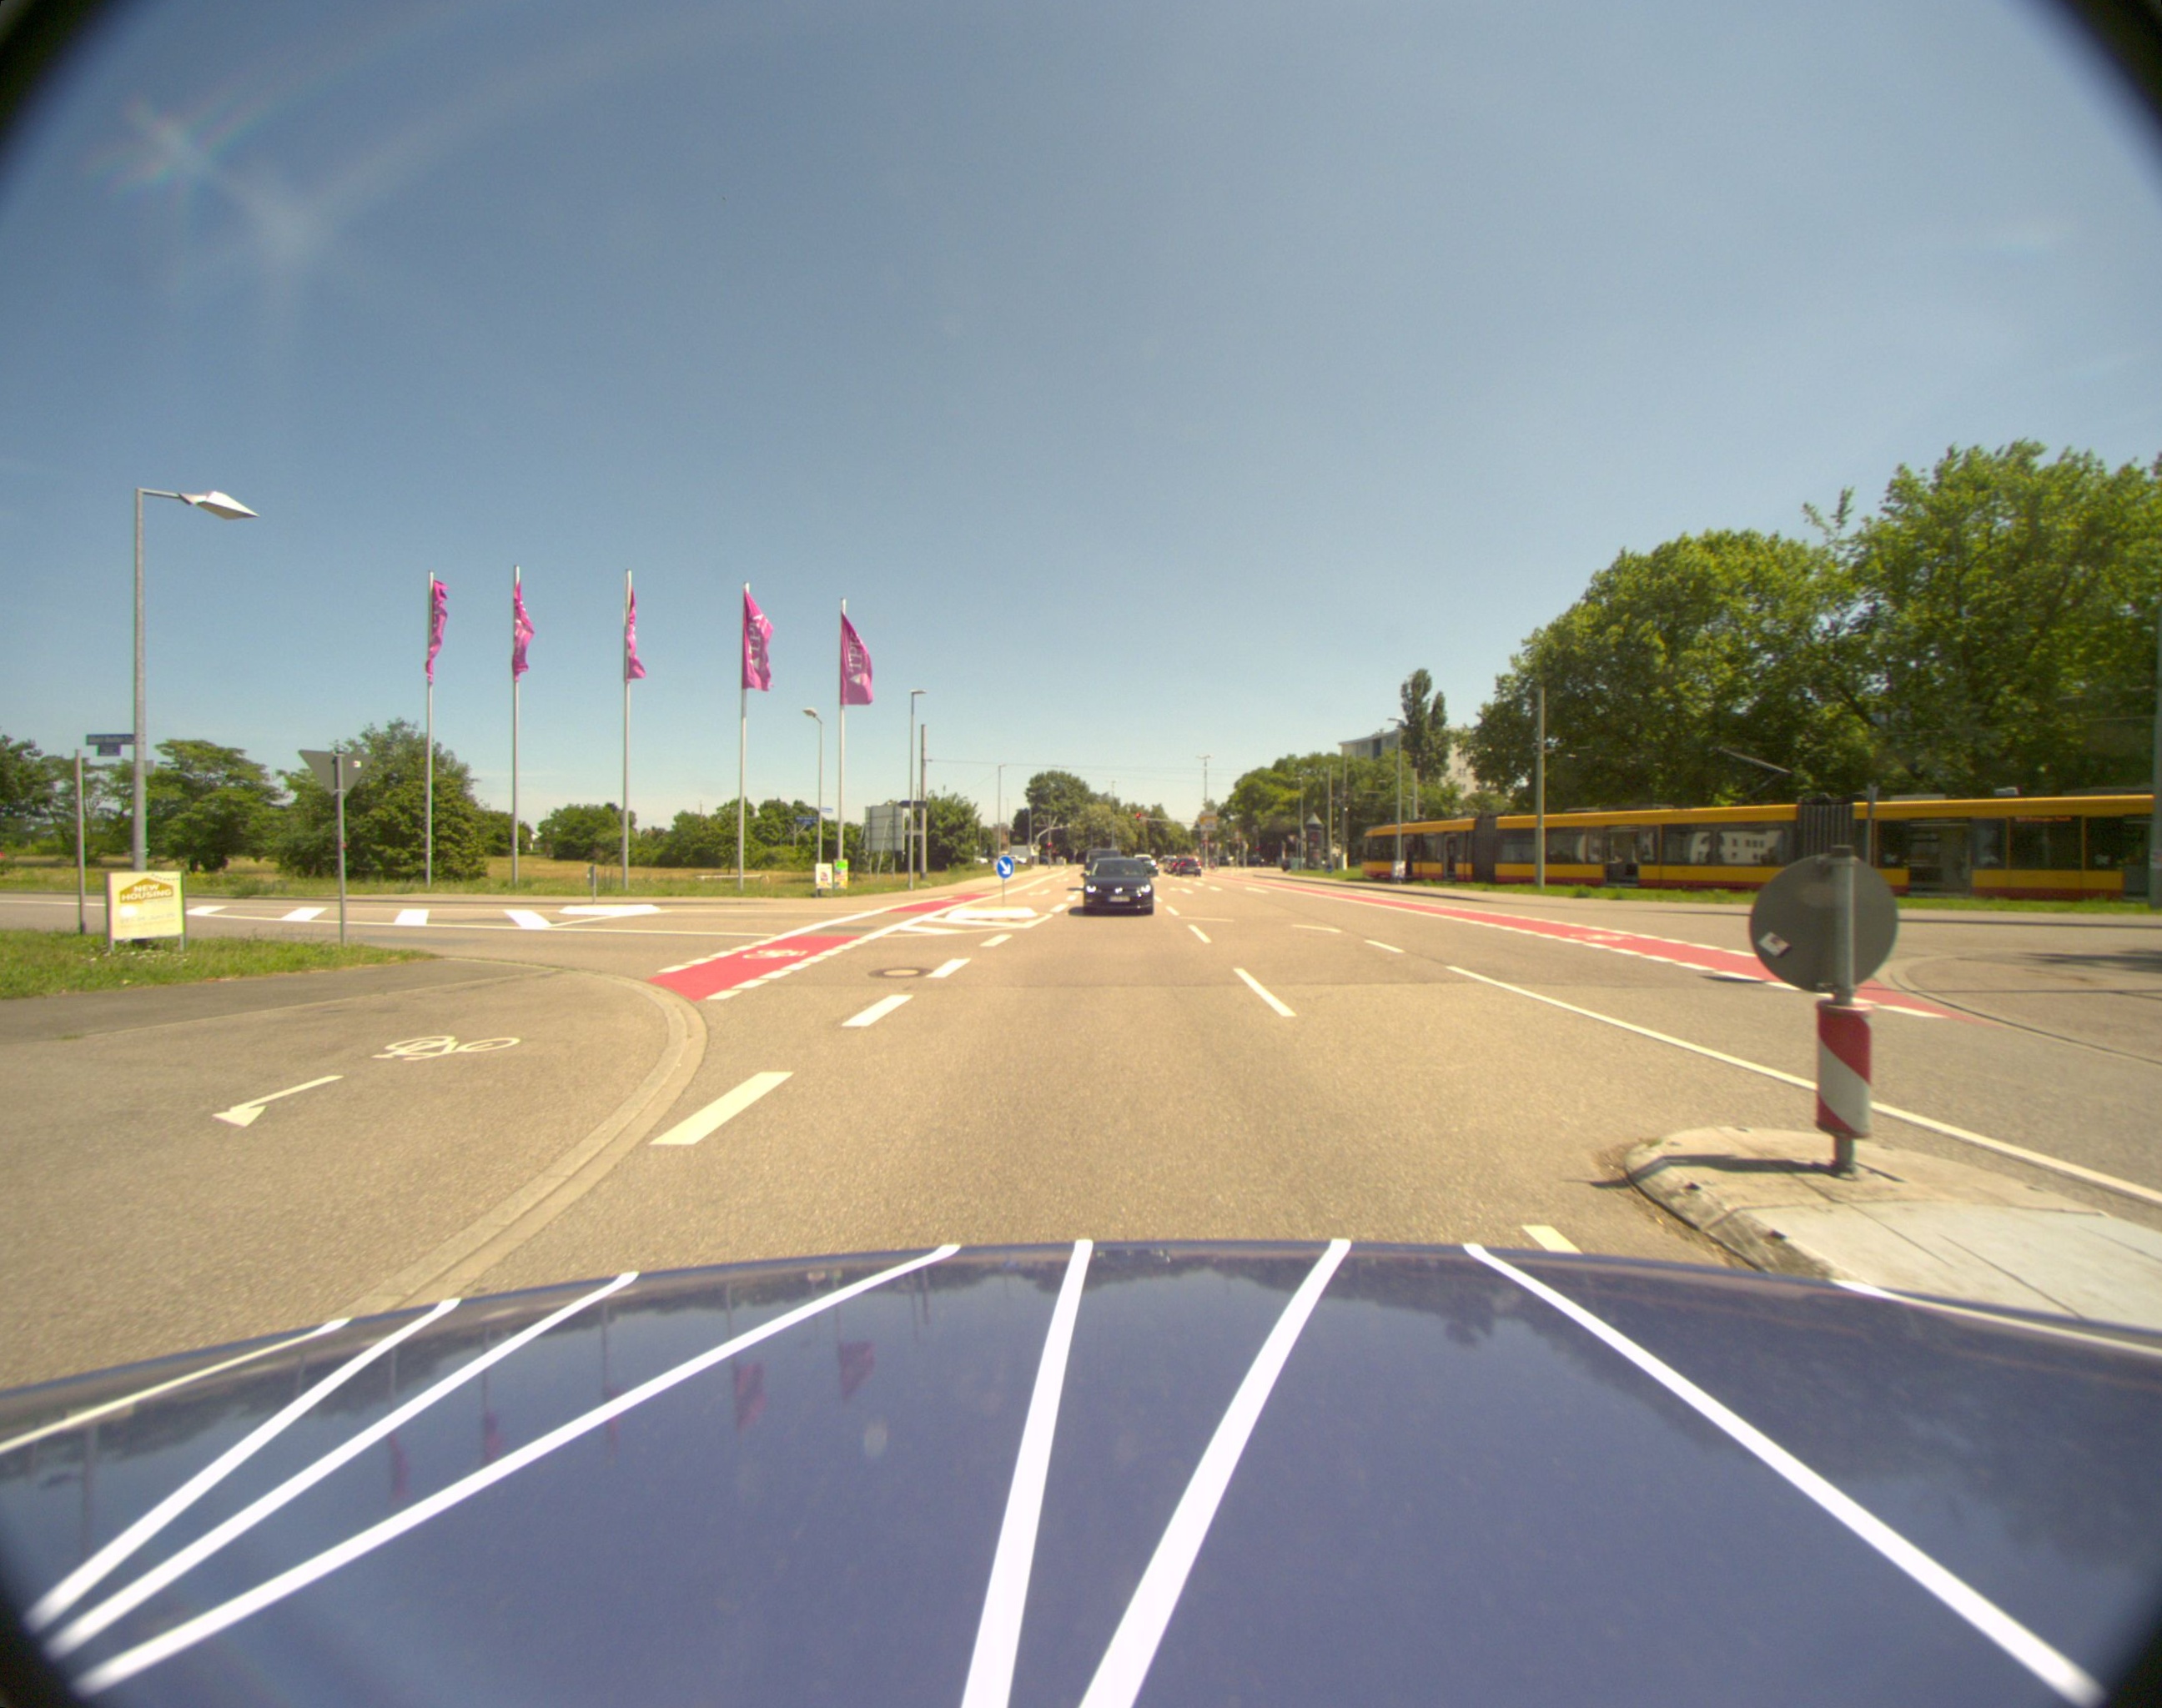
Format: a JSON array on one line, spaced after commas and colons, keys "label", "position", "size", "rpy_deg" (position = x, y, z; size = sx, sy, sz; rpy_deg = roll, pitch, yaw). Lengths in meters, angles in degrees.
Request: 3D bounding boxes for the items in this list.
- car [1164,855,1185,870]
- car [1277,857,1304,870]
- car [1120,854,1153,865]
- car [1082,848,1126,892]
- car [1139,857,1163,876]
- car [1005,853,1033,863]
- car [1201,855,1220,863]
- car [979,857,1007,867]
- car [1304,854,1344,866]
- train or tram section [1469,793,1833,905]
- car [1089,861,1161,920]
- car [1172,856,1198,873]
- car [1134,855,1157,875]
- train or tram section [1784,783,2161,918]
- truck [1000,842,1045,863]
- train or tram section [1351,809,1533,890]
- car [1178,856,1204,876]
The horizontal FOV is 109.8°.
[{"label": "car", "position": [9.327, 0.794, 75.945], "size": [1.795, 1.447, 4.413], "rpy_deg": [1, 0, 3]}, {"label": "car", "position": [22.789, 1.012, 82.558], "size": [1.744, 1.397, 4.449], "rpy_deg": [2, 1, 28]}, {"label": "car", "position": [8.086, 0.794, 110.371], "size": [4.399, 1.566, 1.879], "rpy_deg": [0, -1, 33]}, {"label": "car", "position": [1.031, 0.702, 35.815], "size": [1.941, 1.919, 4.846], "rpy_deg": [0, 0, 0]}, {"label": "car", "position": [5.542, 0.949, 60.569], "size": [1.727, 1.454, 3.991], "rpy_deg": [-1, 0, 3]}, {"label": "car", "position": [-10.575, 0.698, 129.462], "size": [4.399, 1.566, 1.879], "rpy_deg": [0, -1, 33]}, {"label": "car", "position": [23.686, 0.981, 139.038], "size": [3.487, 1.419, 1.586], "rpy_deg": [-1, -2, 7]}, {"label": "car", "position": [-14.681, 1.330, 126.784], "size": [4.399, 1.566, 1.879], "rpy_deg": [0, -1, 33]}, {"label": "car", "position": [30.058, 0.768, 93.997], "size": [4.399, 1.380, 1.879], "rpy_deg": [0, -1, 33]}, {"label": "train or tram section", "position": [22.294, -0.174, 31.072], "size": [3.031, 3.737, 11.588], "rpy_deg": [1, 0, -30]}, {"label": "car", "position": [1.088, 0.895, 20.289], "size": [1.708, 1.396, 4.054], "rpy_deg": [1, -1, 1]}, {"label": "car", "position": [9.093, 0.921, 66.415], "size": [1.764, 1.448, 4.286], "rpy_deg": [0, 0, 1]}, {"label": "car", "position": [5.757, 0.949, 68.012], "size": [1.816, 1.713, 4.832], "rpy_deg": [-1, 0, 2]}, {"label": "train or tram section", "position": [30.460, -0.075, 22.325], "size": [14.006, 3.737, 3.033], "rpy_deg": [1, 0, 34]}, {"label": "truck", "position": [-10.335, -0.280, 133.816], "size": [7.690, 3.511, 2.595], "rpy_deg": [0, -2, 33]}, {"label": "train or tram section", "position": [19.179, -0.161, 41.984], "size": [3.025, 3.737, 12.989], "rpy_deg": [1, 0, -4]}, {"label": "car", "position": [8.373, 0.917, 58.027], "size": [1.626, 1.447, 3.502], "rpy_deg": [1, 0, 2]}]
